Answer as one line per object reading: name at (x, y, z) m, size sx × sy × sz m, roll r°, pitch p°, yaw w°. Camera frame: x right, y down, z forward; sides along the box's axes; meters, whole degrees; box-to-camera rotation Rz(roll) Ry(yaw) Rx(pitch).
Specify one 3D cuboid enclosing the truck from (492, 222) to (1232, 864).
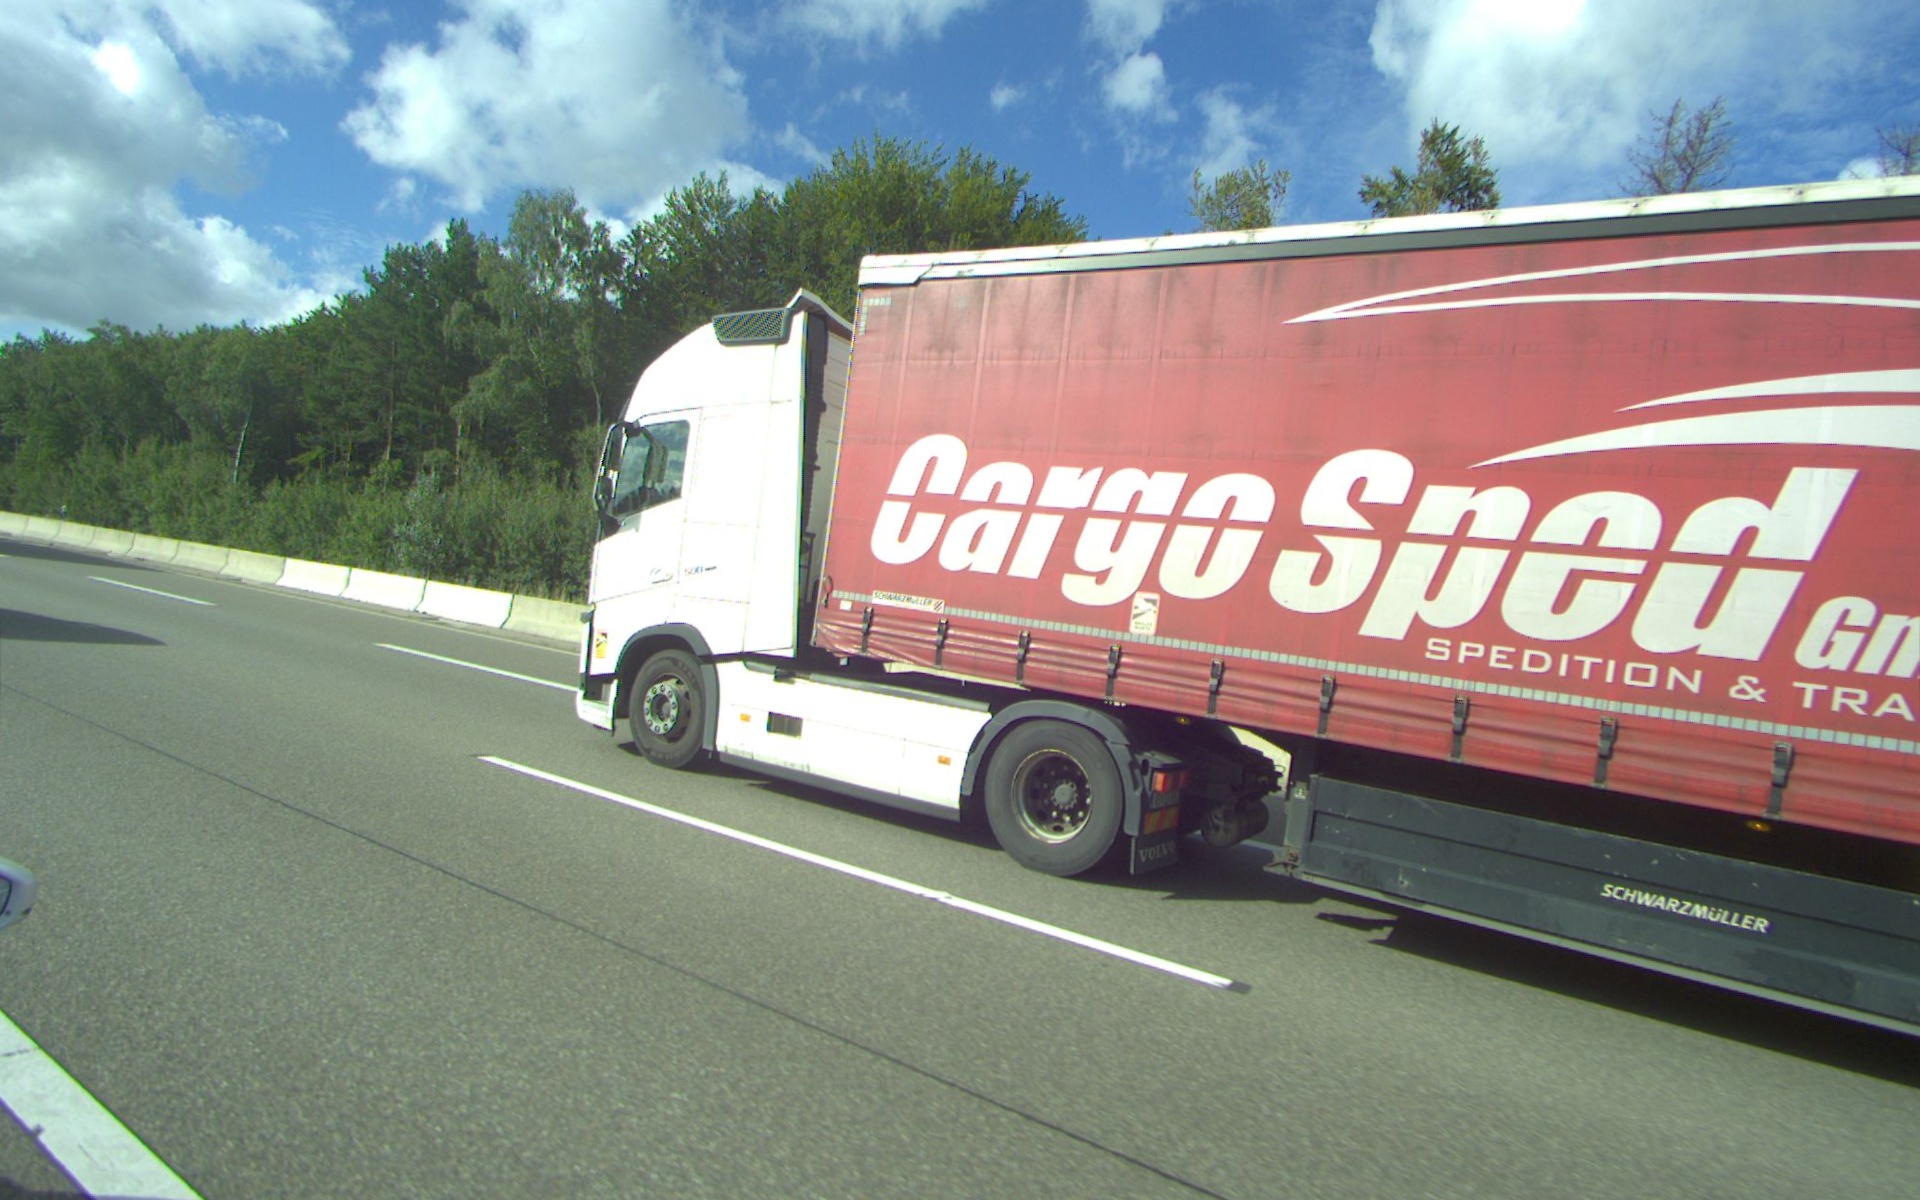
truck at (-0.995, -0.520, 9.049) m, size 5.677 × 4.093 × 2.778 m, roll 7°, pitch -1°, yaw 32°

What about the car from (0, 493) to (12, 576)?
car at (-12.892, -0.709, 11.542) m, size 4.384 × 1.547 × 1.776 m, roll 7°, pitch -2°, yaw 32°

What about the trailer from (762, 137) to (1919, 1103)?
trailer at (5.148, 0.207, 5.241) m, size 13.486 × 4.093 × 2.778 m, roll 7°, pitch -1°, yaw 32°
